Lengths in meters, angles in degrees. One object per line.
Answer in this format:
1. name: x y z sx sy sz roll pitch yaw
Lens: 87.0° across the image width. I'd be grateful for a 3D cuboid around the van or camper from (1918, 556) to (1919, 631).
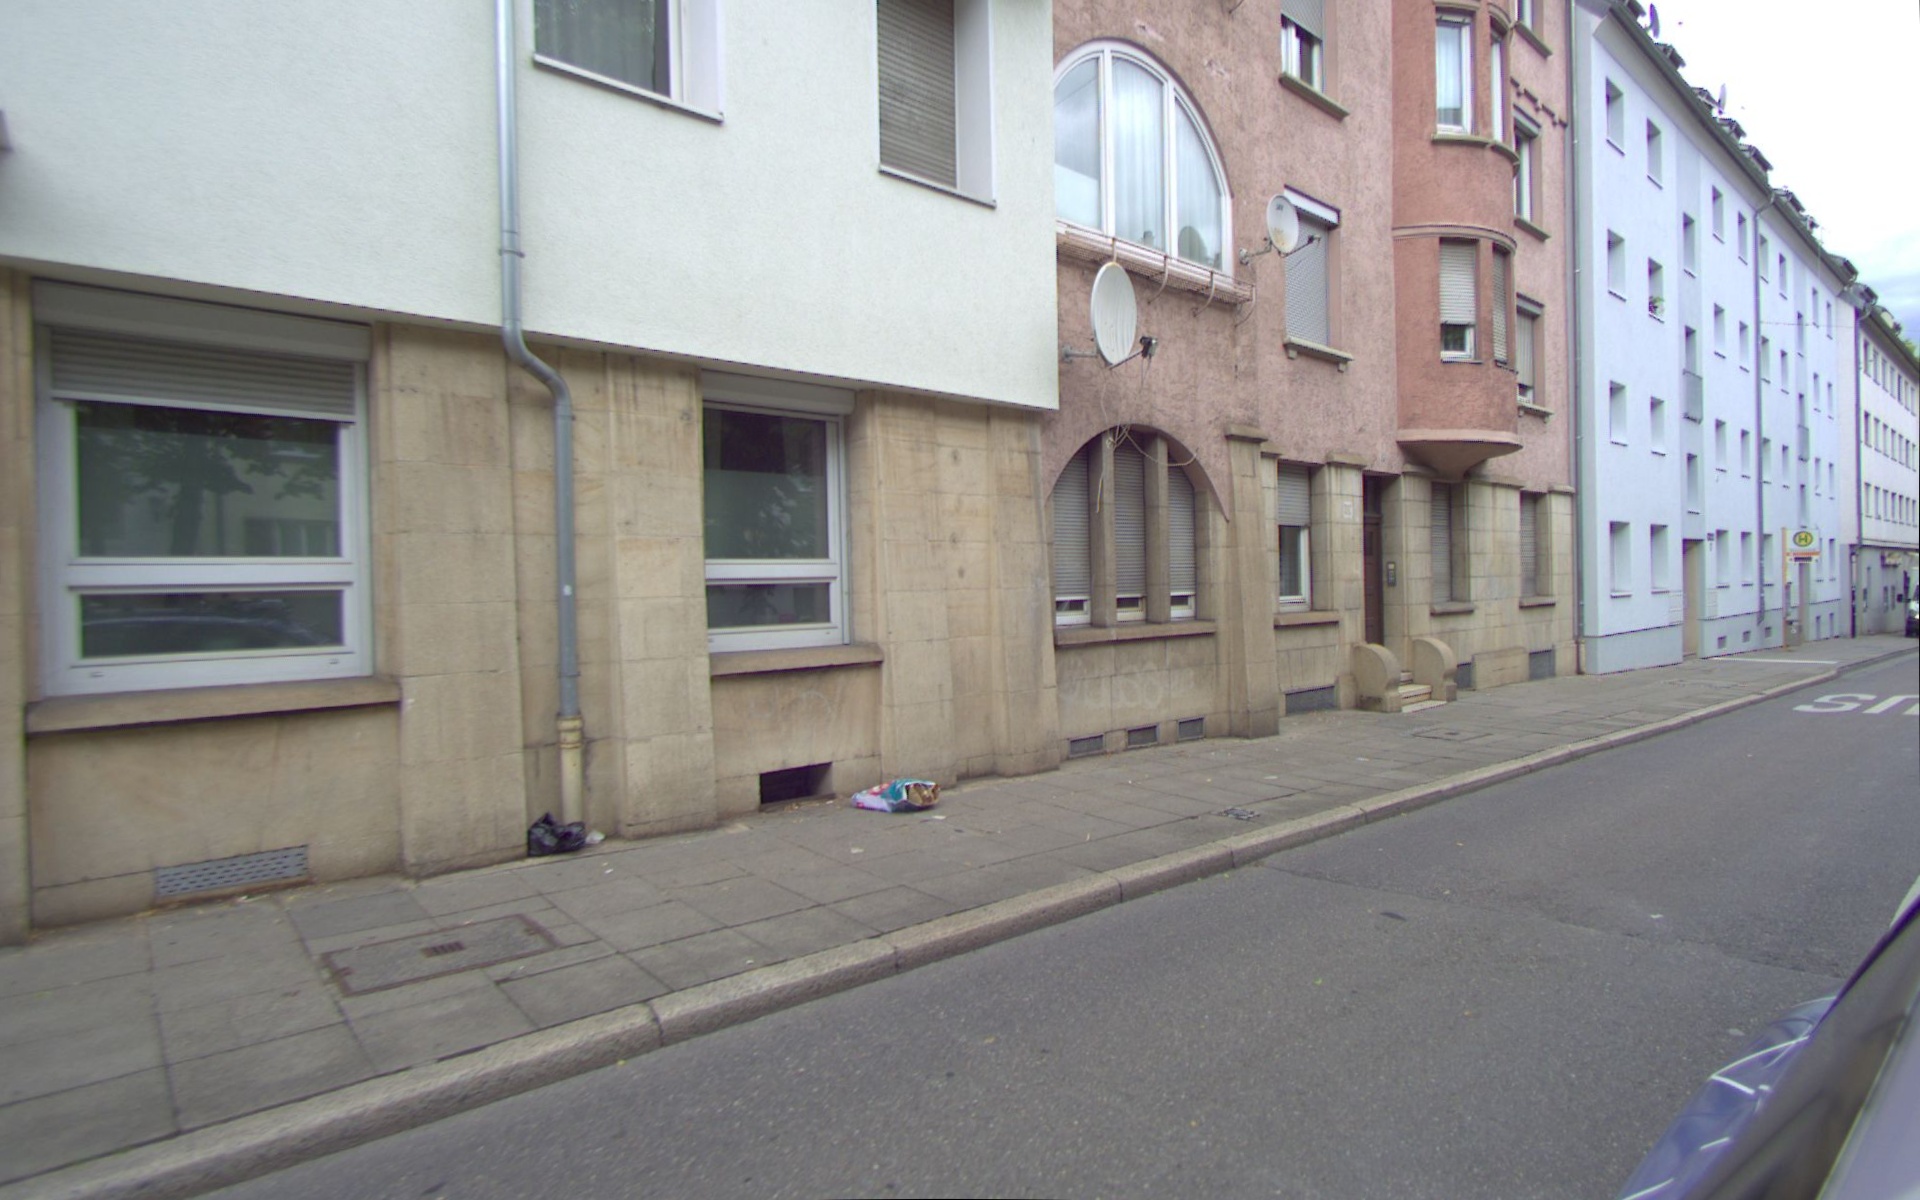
1. van or camper: 39.635 -0.243 39.853 7.119 2.838 2.481 0 -1 -44
